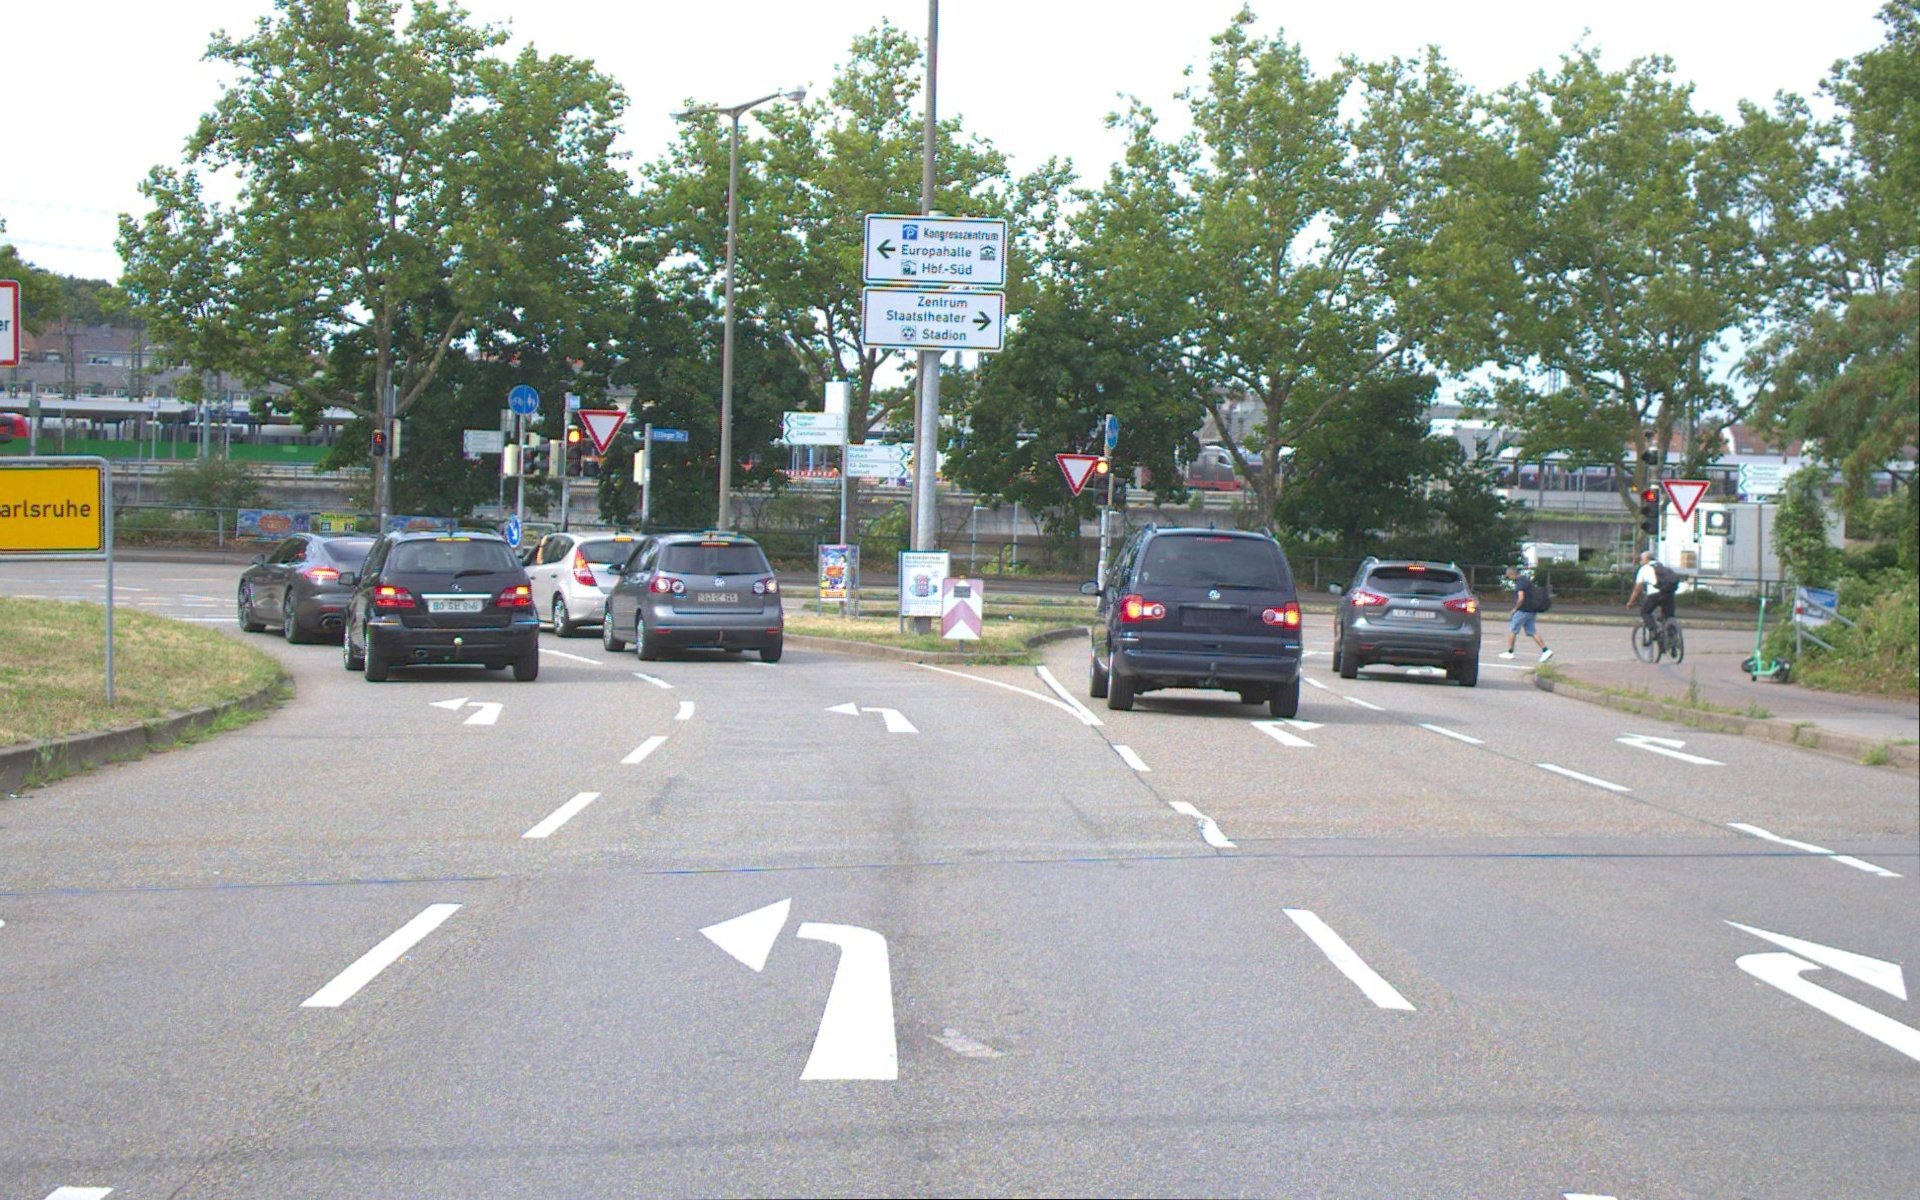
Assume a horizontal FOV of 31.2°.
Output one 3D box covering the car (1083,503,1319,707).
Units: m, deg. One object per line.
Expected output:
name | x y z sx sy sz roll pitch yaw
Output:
car | 2.225 0.011 32.787 1.750 1.719 4.138 3 1 -2

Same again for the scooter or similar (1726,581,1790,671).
scooter or similar | 10.727 0.339 46.234 0.396 1.179 1.281 1 1 -8

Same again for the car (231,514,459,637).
car | -8.137 -0.352 45.152 1.818 1.409 4.778 1 2 -24

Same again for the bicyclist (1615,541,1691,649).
bicyclist | 11.222 -0.089 55.717 0.810 1.690 1.116 1 1 -10

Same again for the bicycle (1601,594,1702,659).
bicycle | 11.201 0.419 55.796 0.809 0.949 2.236 1 2 -11

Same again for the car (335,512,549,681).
car | -5.583 -0.079 36.667 1.756 1.570 4.038 2 2 -15

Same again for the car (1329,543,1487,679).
car | 5.942 0.121 45.977 1.750 1.637 4.137 3 1 4

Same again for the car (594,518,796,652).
car | -3.348 -0.221 42.769 1.740 1.541 4.083 1 1 -15

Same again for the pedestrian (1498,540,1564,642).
pedestrian | 9.921 -0.161 59.728 1.047 1.704 0.853 3 1 10

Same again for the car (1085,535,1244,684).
car | 2.455 0.085 40.801 1.691 1.580 4.156 3 1 4

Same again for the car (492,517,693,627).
car | -5.317 -0.426 49.276 1.740 1.477 4.083 1 1 -23
